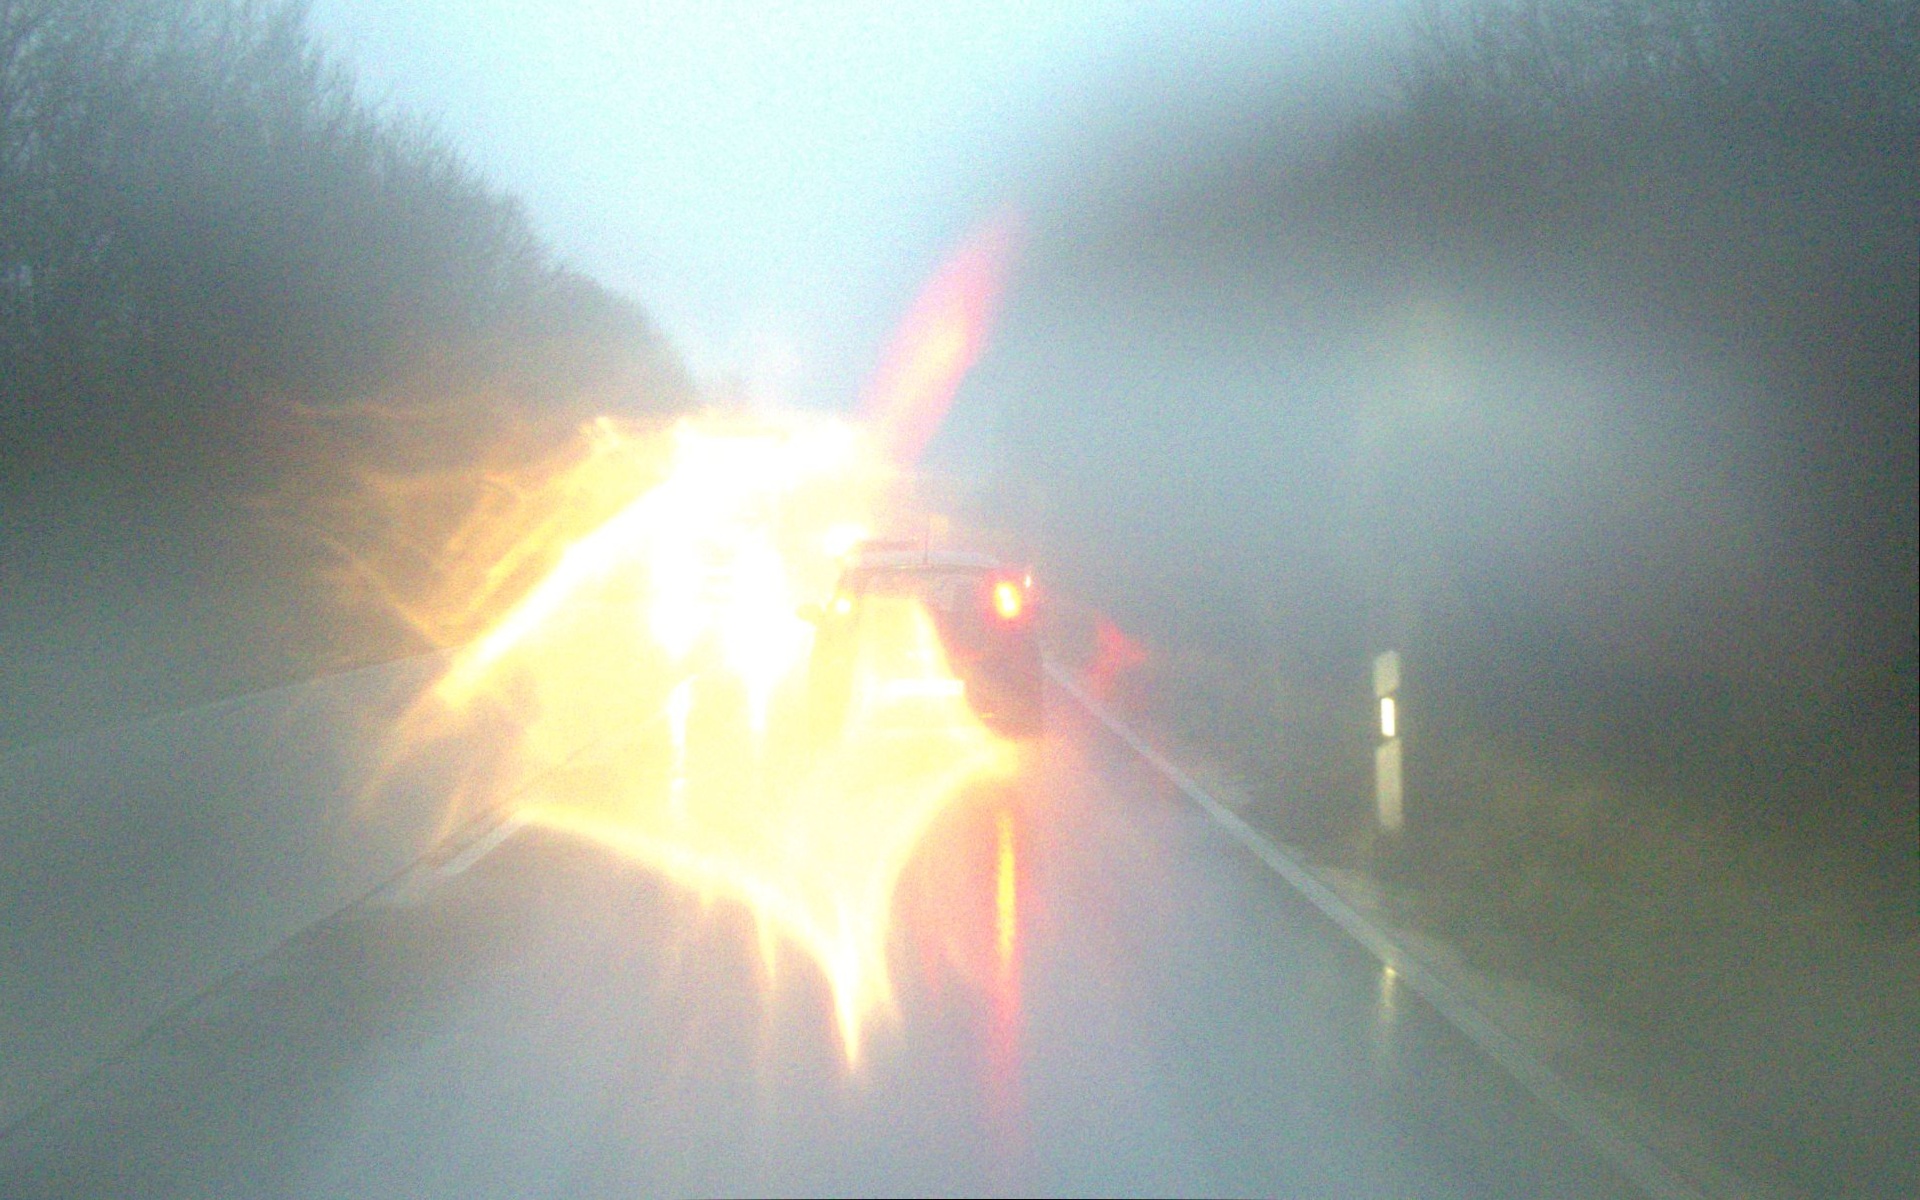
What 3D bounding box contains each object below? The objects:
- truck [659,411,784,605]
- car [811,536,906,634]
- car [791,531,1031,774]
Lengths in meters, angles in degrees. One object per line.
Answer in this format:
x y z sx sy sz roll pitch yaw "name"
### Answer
-5.583 -2.140 81.187 2.642 4.401 5.554 1 1 -1 "truck"
-1.909 -0.307 65.205 1.733 1.773 4.000 1 1 -1 "car"
-0.350 0.336 25.528 1.648 1.666 3.514 1 1 0 "car"
